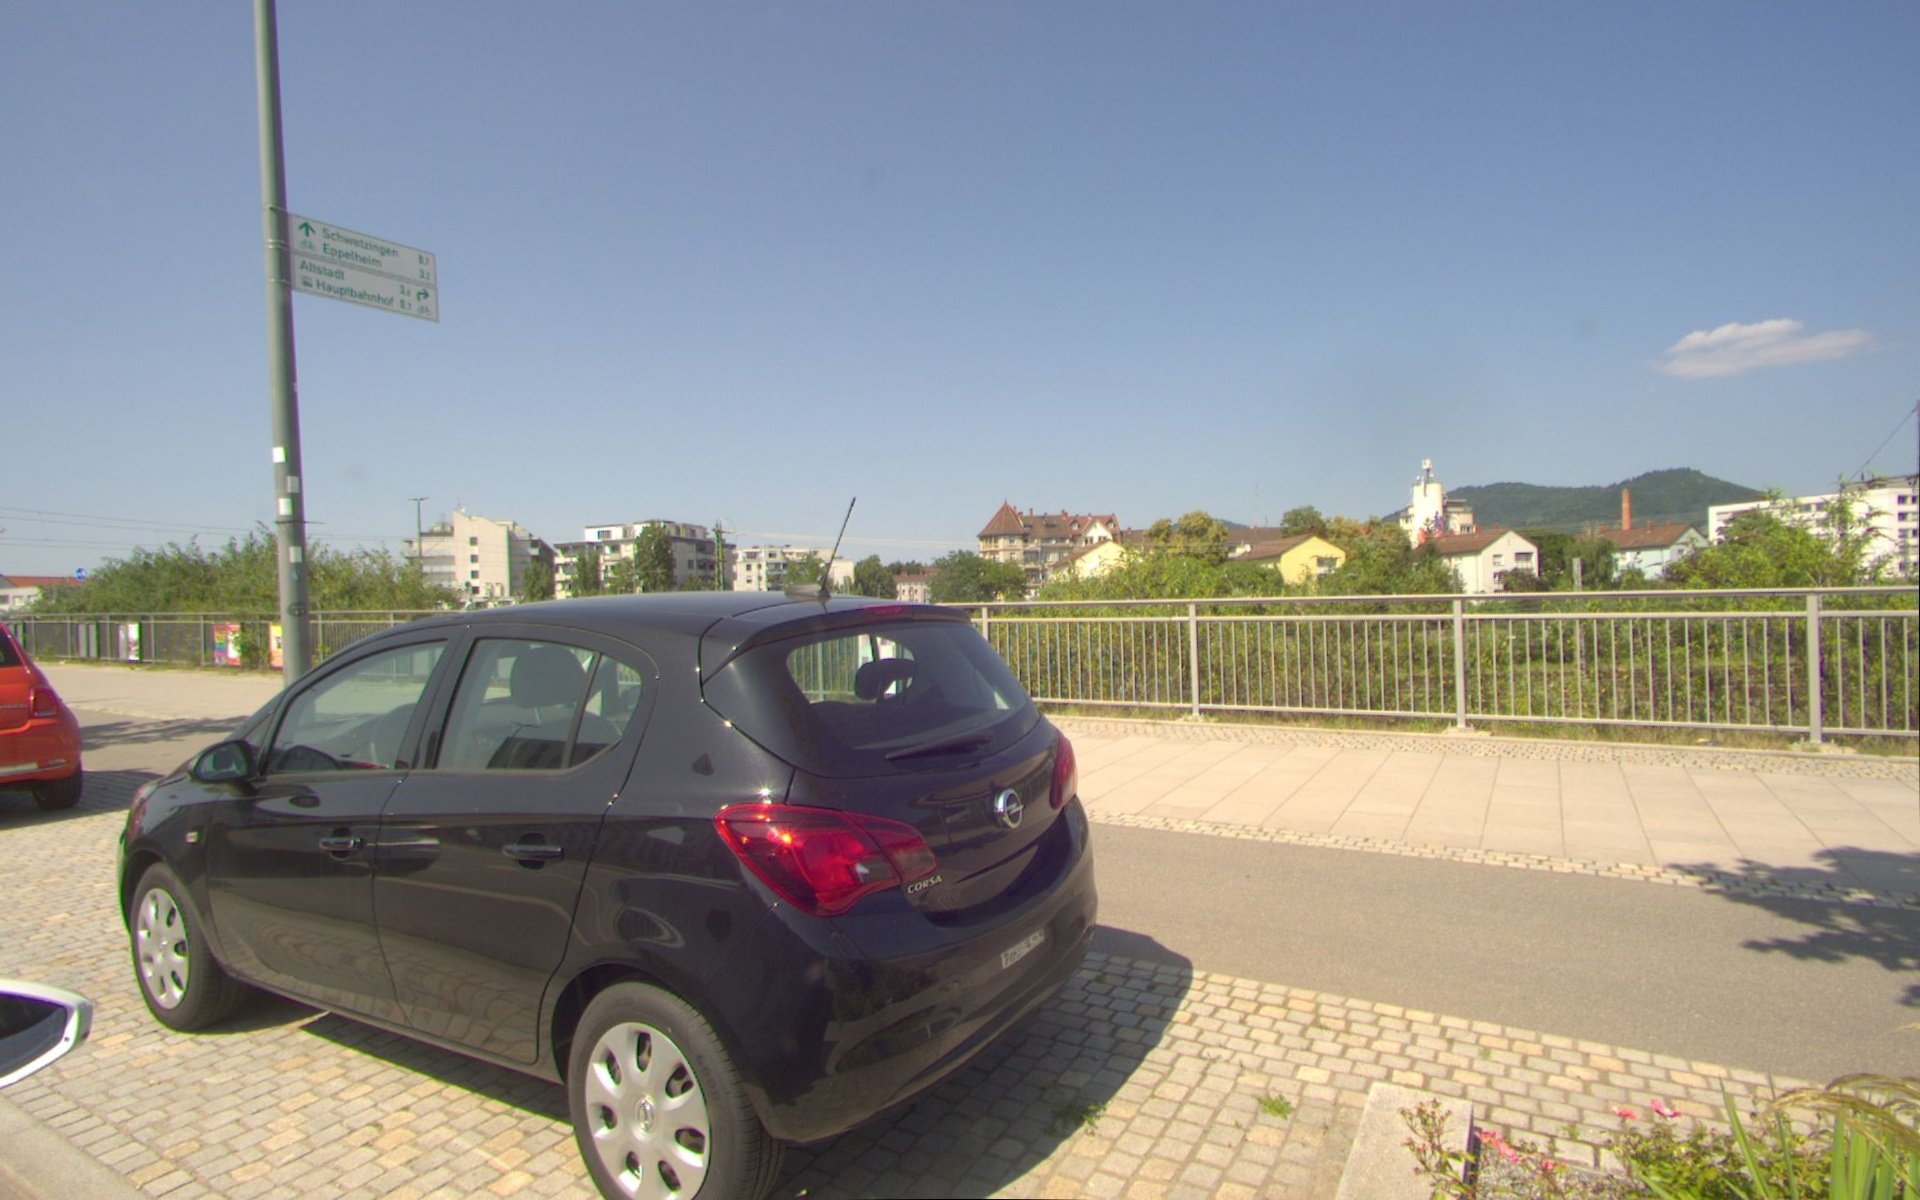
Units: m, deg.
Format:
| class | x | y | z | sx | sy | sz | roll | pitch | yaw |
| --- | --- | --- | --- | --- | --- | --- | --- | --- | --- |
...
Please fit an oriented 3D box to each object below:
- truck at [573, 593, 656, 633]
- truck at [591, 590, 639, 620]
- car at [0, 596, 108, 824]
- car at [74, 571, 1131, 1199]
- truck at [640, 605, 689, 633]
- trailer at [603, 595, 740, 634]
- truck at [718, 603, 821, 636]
| class | x | y | z | sx | sy | sz | roll | pitch | yaw |
| --- | --- | --- | --- | --- | --- | --- | --- | --- | --- |
| truck | -29.458 | 1.176 | 85.634 | 3.672 | 3.244 | 6.485 | -1 | -2 | 17 |
| truck | -32.321 | 0.484 | 93.942 | 1.964 | 2.572 | 4.705 | -1 | -2 | 16 |
| car | -8.346 | 0.784 | 7.777 | 3.863 | 1.561 | 1.664 | 0 | 2 | 35 |
| car | -1.352 | 0.742 | 3.473 | 3.495 | 1.577 | 1.577 | -1 | 2 | 32 |
| truck | -31.760 | 2.083 | 107.750 | 2.081 | 2.919 | 5.866 | -1 | -2 | 19 |
| trailer | -26.705 | 1.543 | 94.527 | 3.674 | 3.243 | 17.244 | -1 | -3 | 17 |
| truck | -21.205 | 2.348 | 113.644 | 3.674 | 3.243 | 17.876 | -1 | -3 | 17 |
